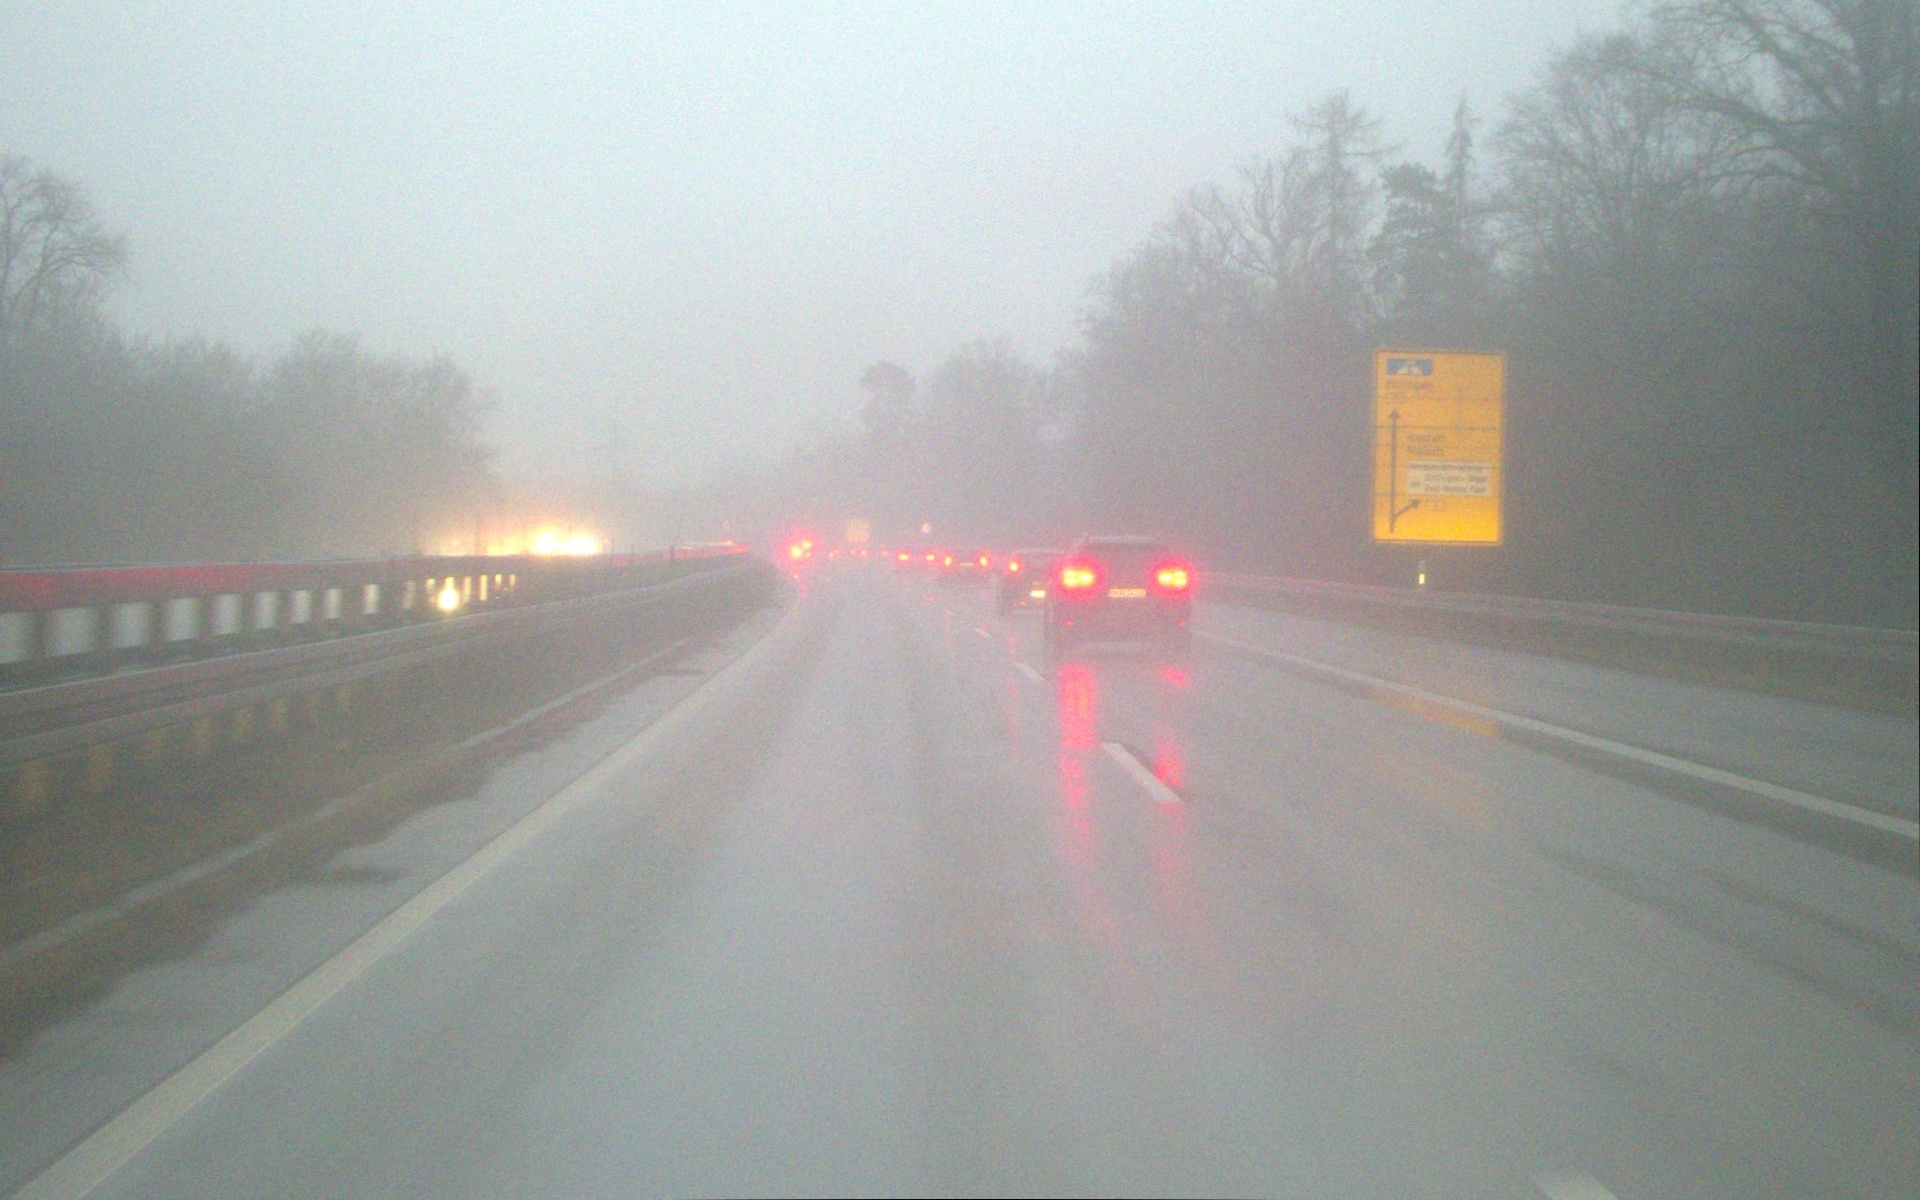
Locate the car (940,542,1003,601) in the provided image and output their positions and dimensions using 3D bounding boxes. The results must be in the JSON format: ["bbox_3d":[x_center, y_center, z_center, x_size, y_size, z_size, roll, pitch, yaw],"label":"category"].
[{"bbox_3d":[0.367,-0.984,118.878,1.993,2.007,4.000,1,0,-2],"label":"car"}]

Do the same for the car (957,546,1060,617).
[{"bbox_3d":[1.012,-0.399,73.956,1.993,1.415,4.000,3,0,-1],"label":"car"}]

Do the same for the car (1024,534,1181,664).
[{"bbox_3d":[1.925,-0.034,47.584,1.992,1.709,3.830,1,0,0],"label":"car"}]
